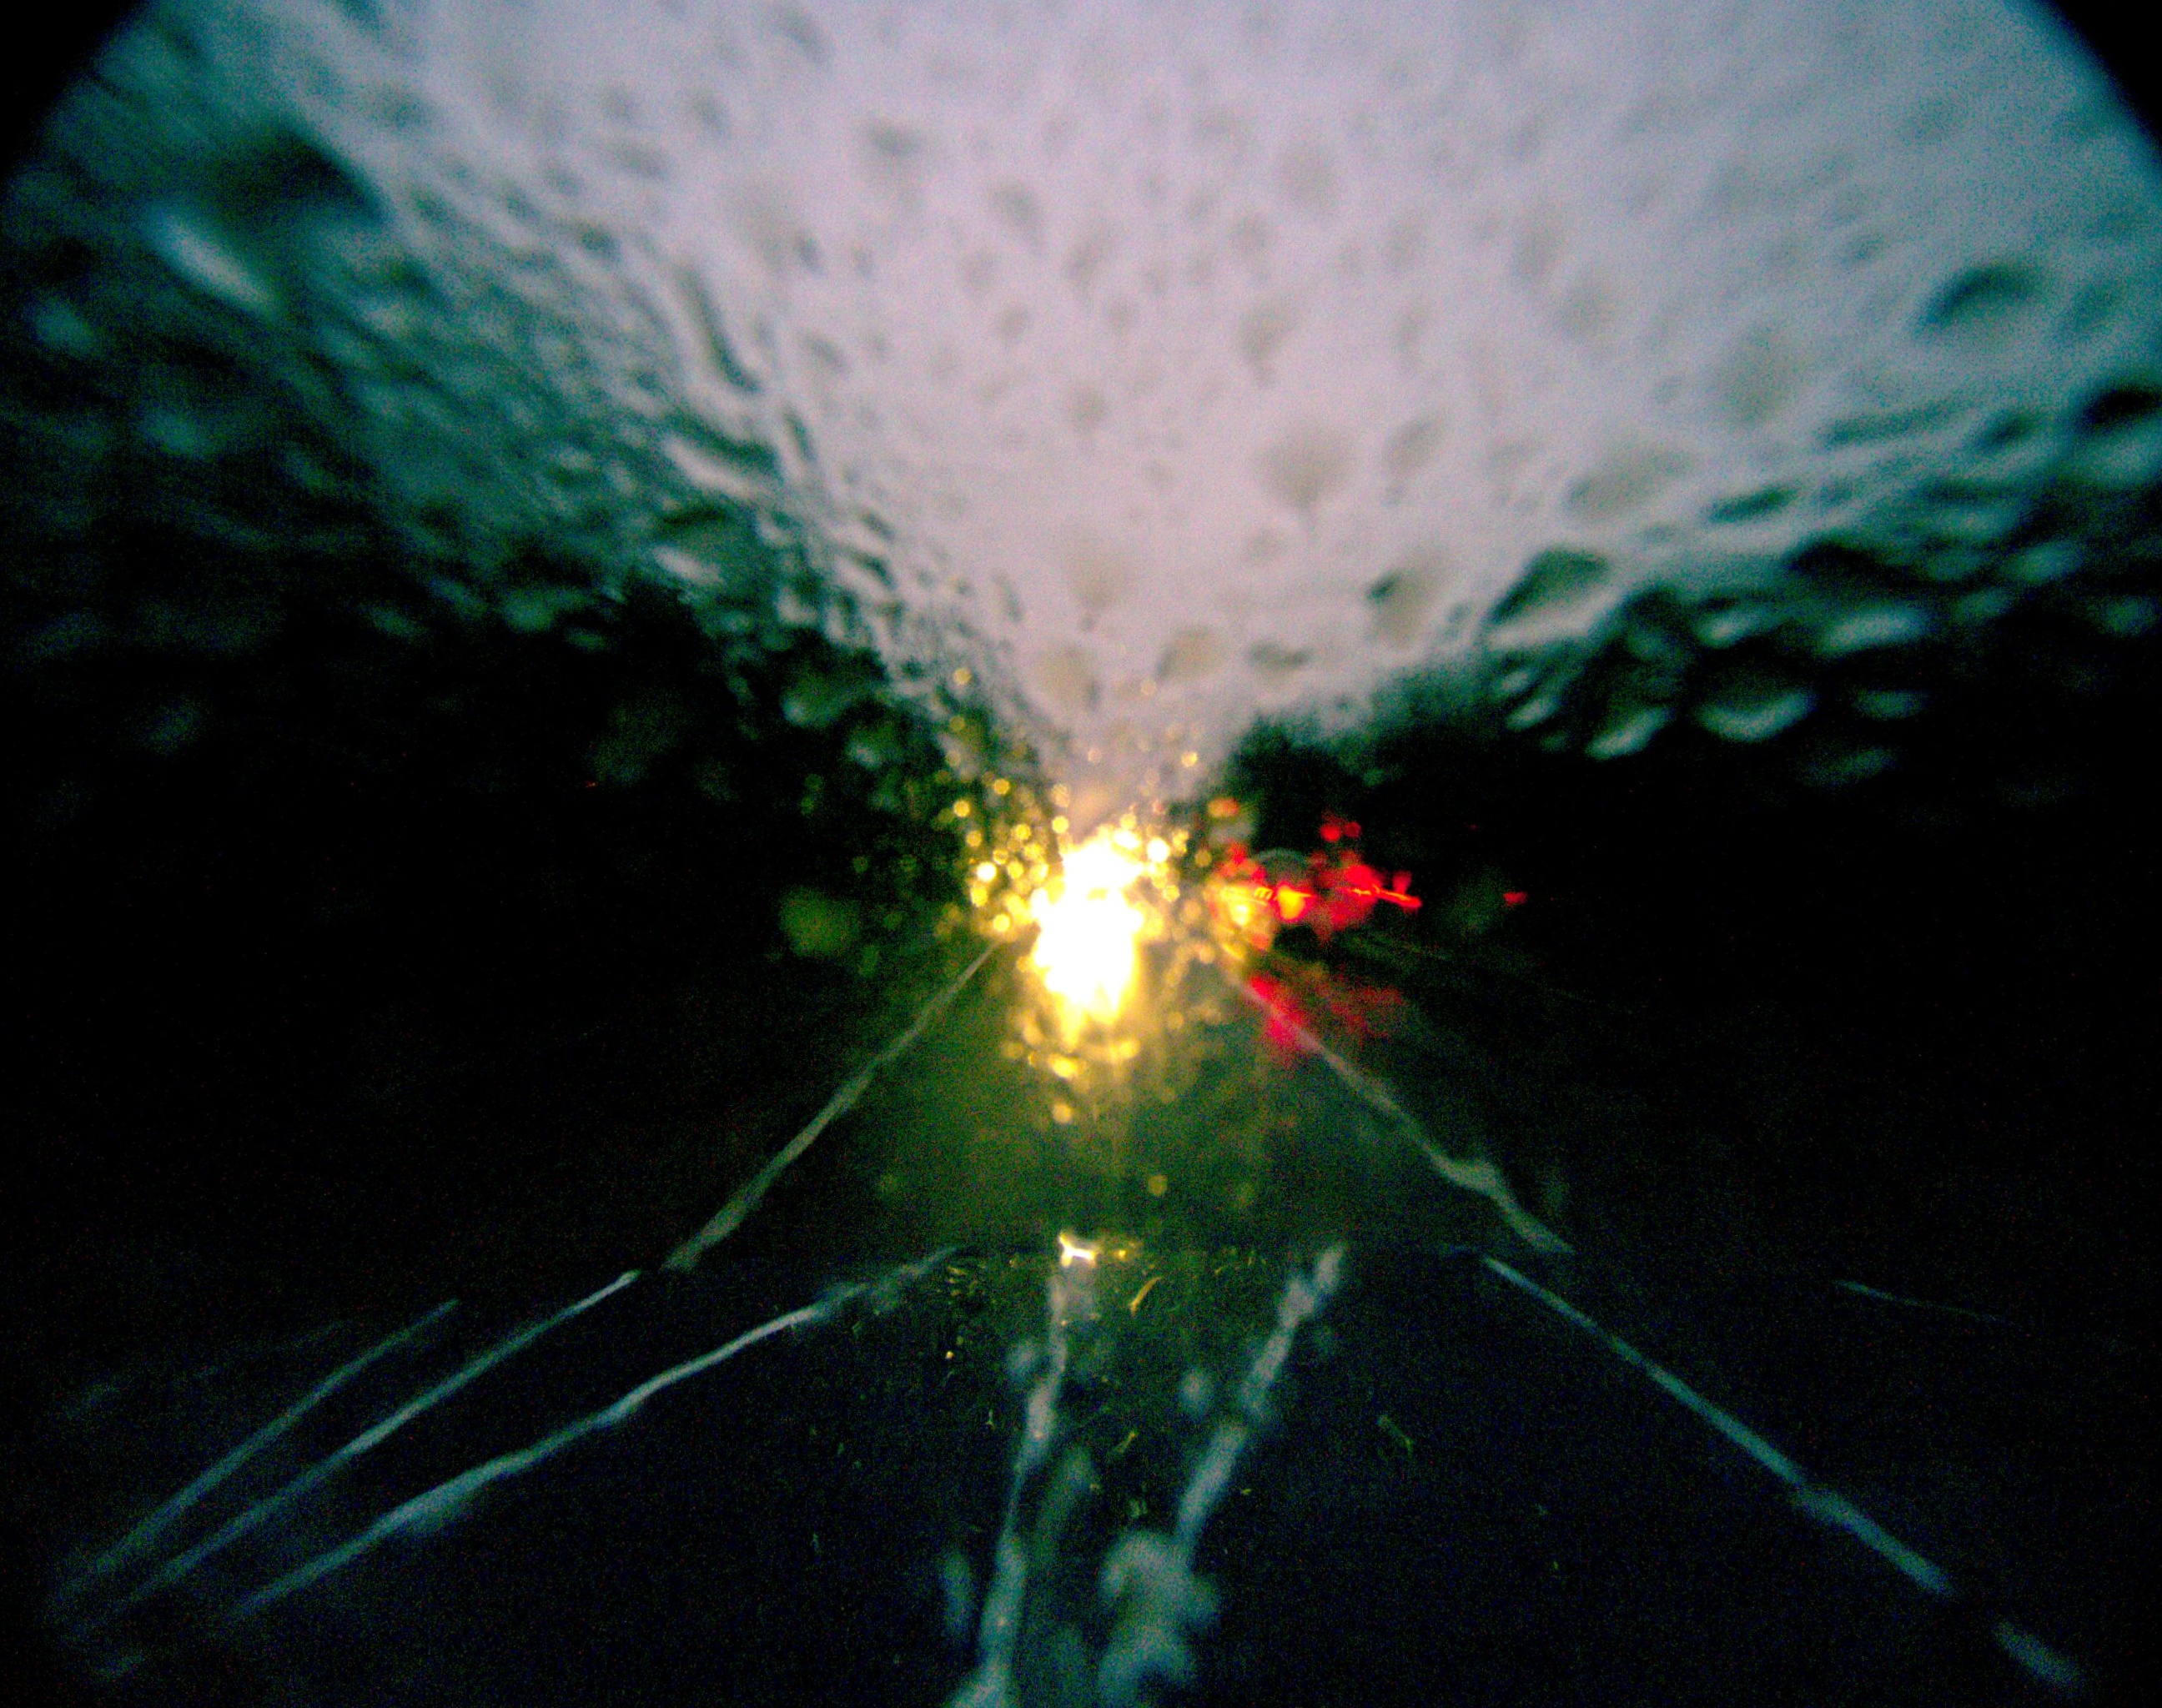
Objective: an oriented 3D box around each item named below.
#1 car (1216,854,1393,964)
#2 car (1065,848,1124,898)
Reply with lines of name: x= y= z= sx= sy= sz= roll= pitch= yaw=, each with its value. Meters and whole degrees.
car: x=3.551 y=0.789 z=12.848 sx=1.753 sy=1.543 sz=3.993 roll=-1 pitch=0 yaw=-1
car: x=0.466 y=0.662 z=28.244 sx=1.998 sy=1.672 sz=4.000 roll=-2 pitch=0 yaw=0
